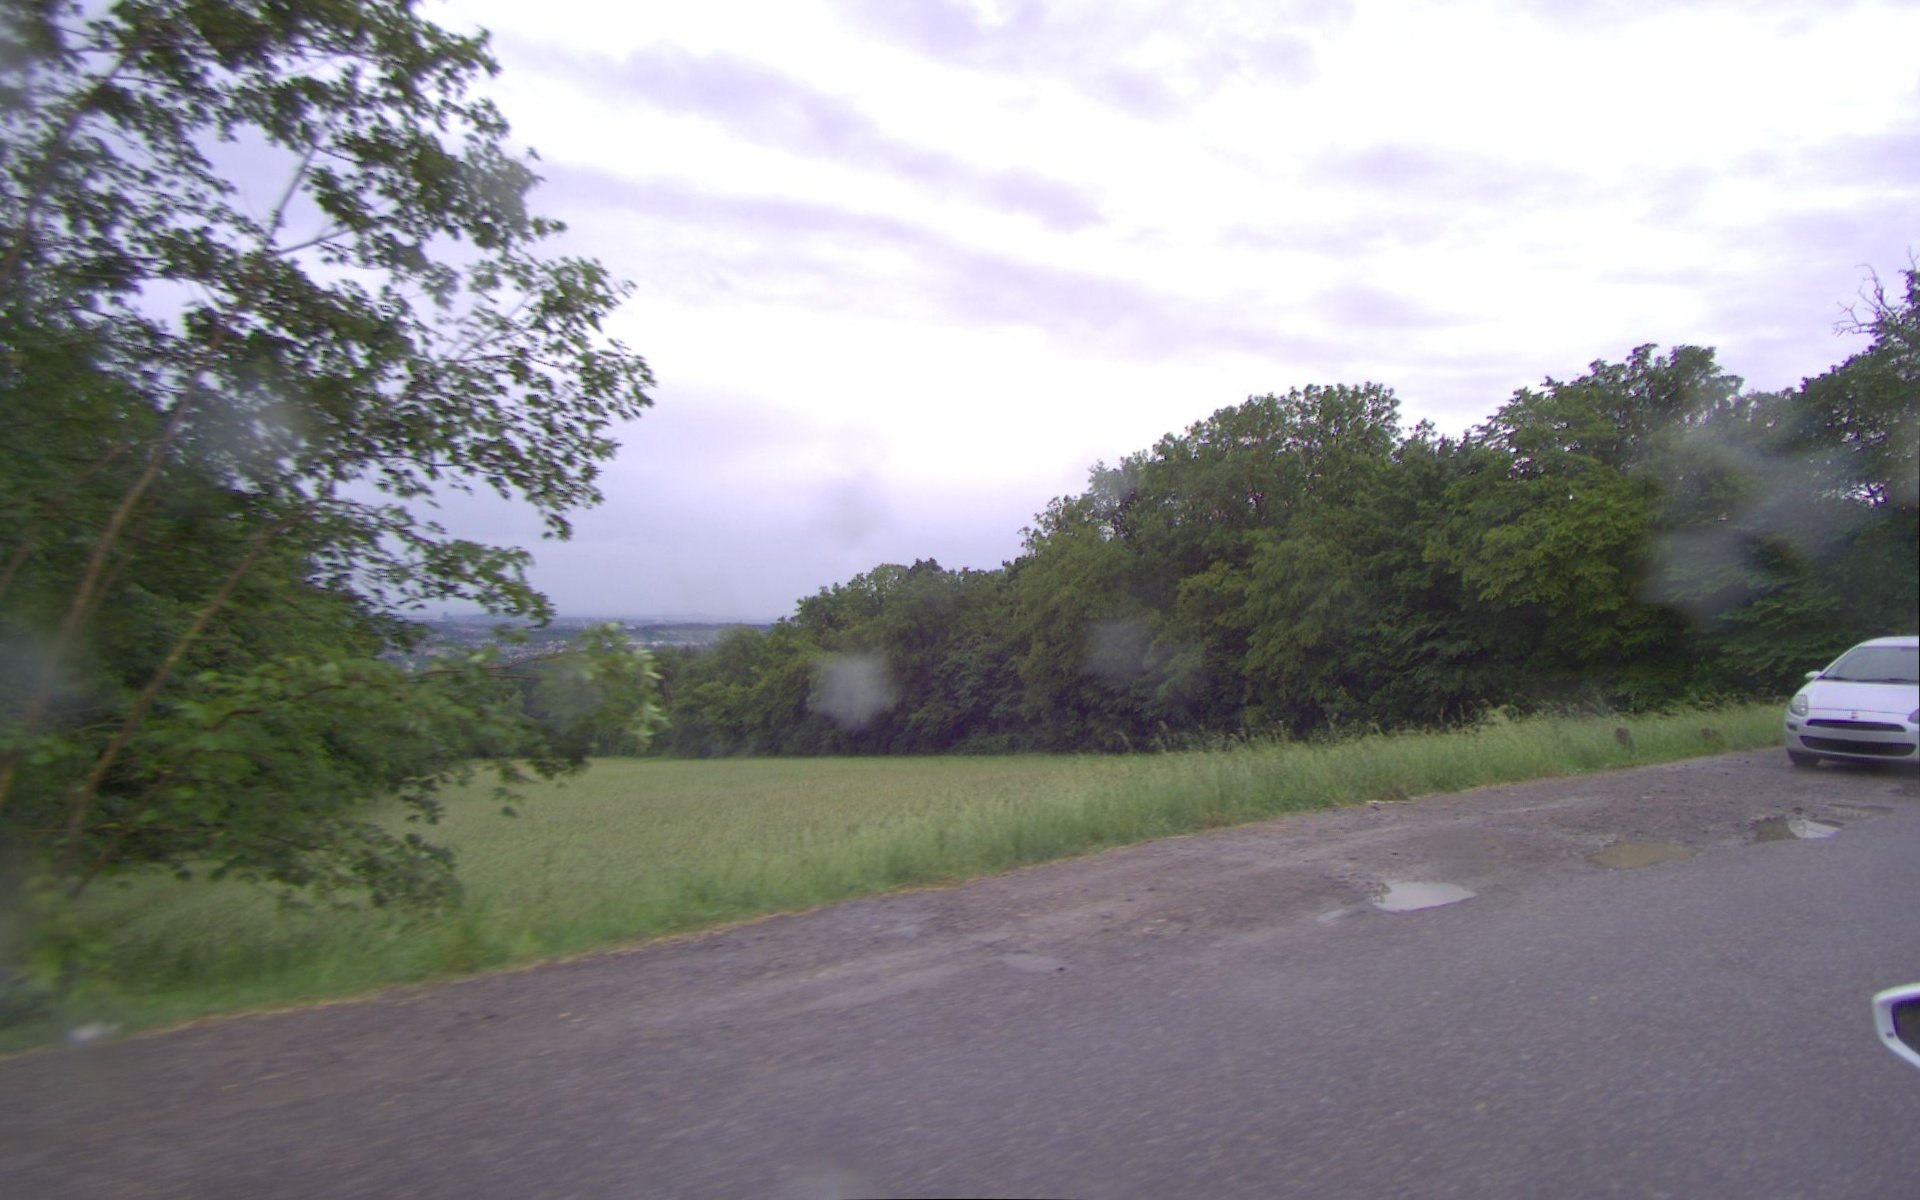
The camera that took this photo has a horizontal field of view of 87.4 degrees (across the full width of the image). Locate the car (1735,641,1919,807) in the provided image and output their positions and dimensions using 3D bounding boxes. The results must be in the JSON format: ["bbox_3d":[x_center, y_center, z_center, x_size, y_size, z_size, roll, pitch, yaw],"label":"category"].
[{"bbox_3d":[11.264,1.313,11.787,4.441,1.616,1.853,0,-3,-30],"label":"car"}]
